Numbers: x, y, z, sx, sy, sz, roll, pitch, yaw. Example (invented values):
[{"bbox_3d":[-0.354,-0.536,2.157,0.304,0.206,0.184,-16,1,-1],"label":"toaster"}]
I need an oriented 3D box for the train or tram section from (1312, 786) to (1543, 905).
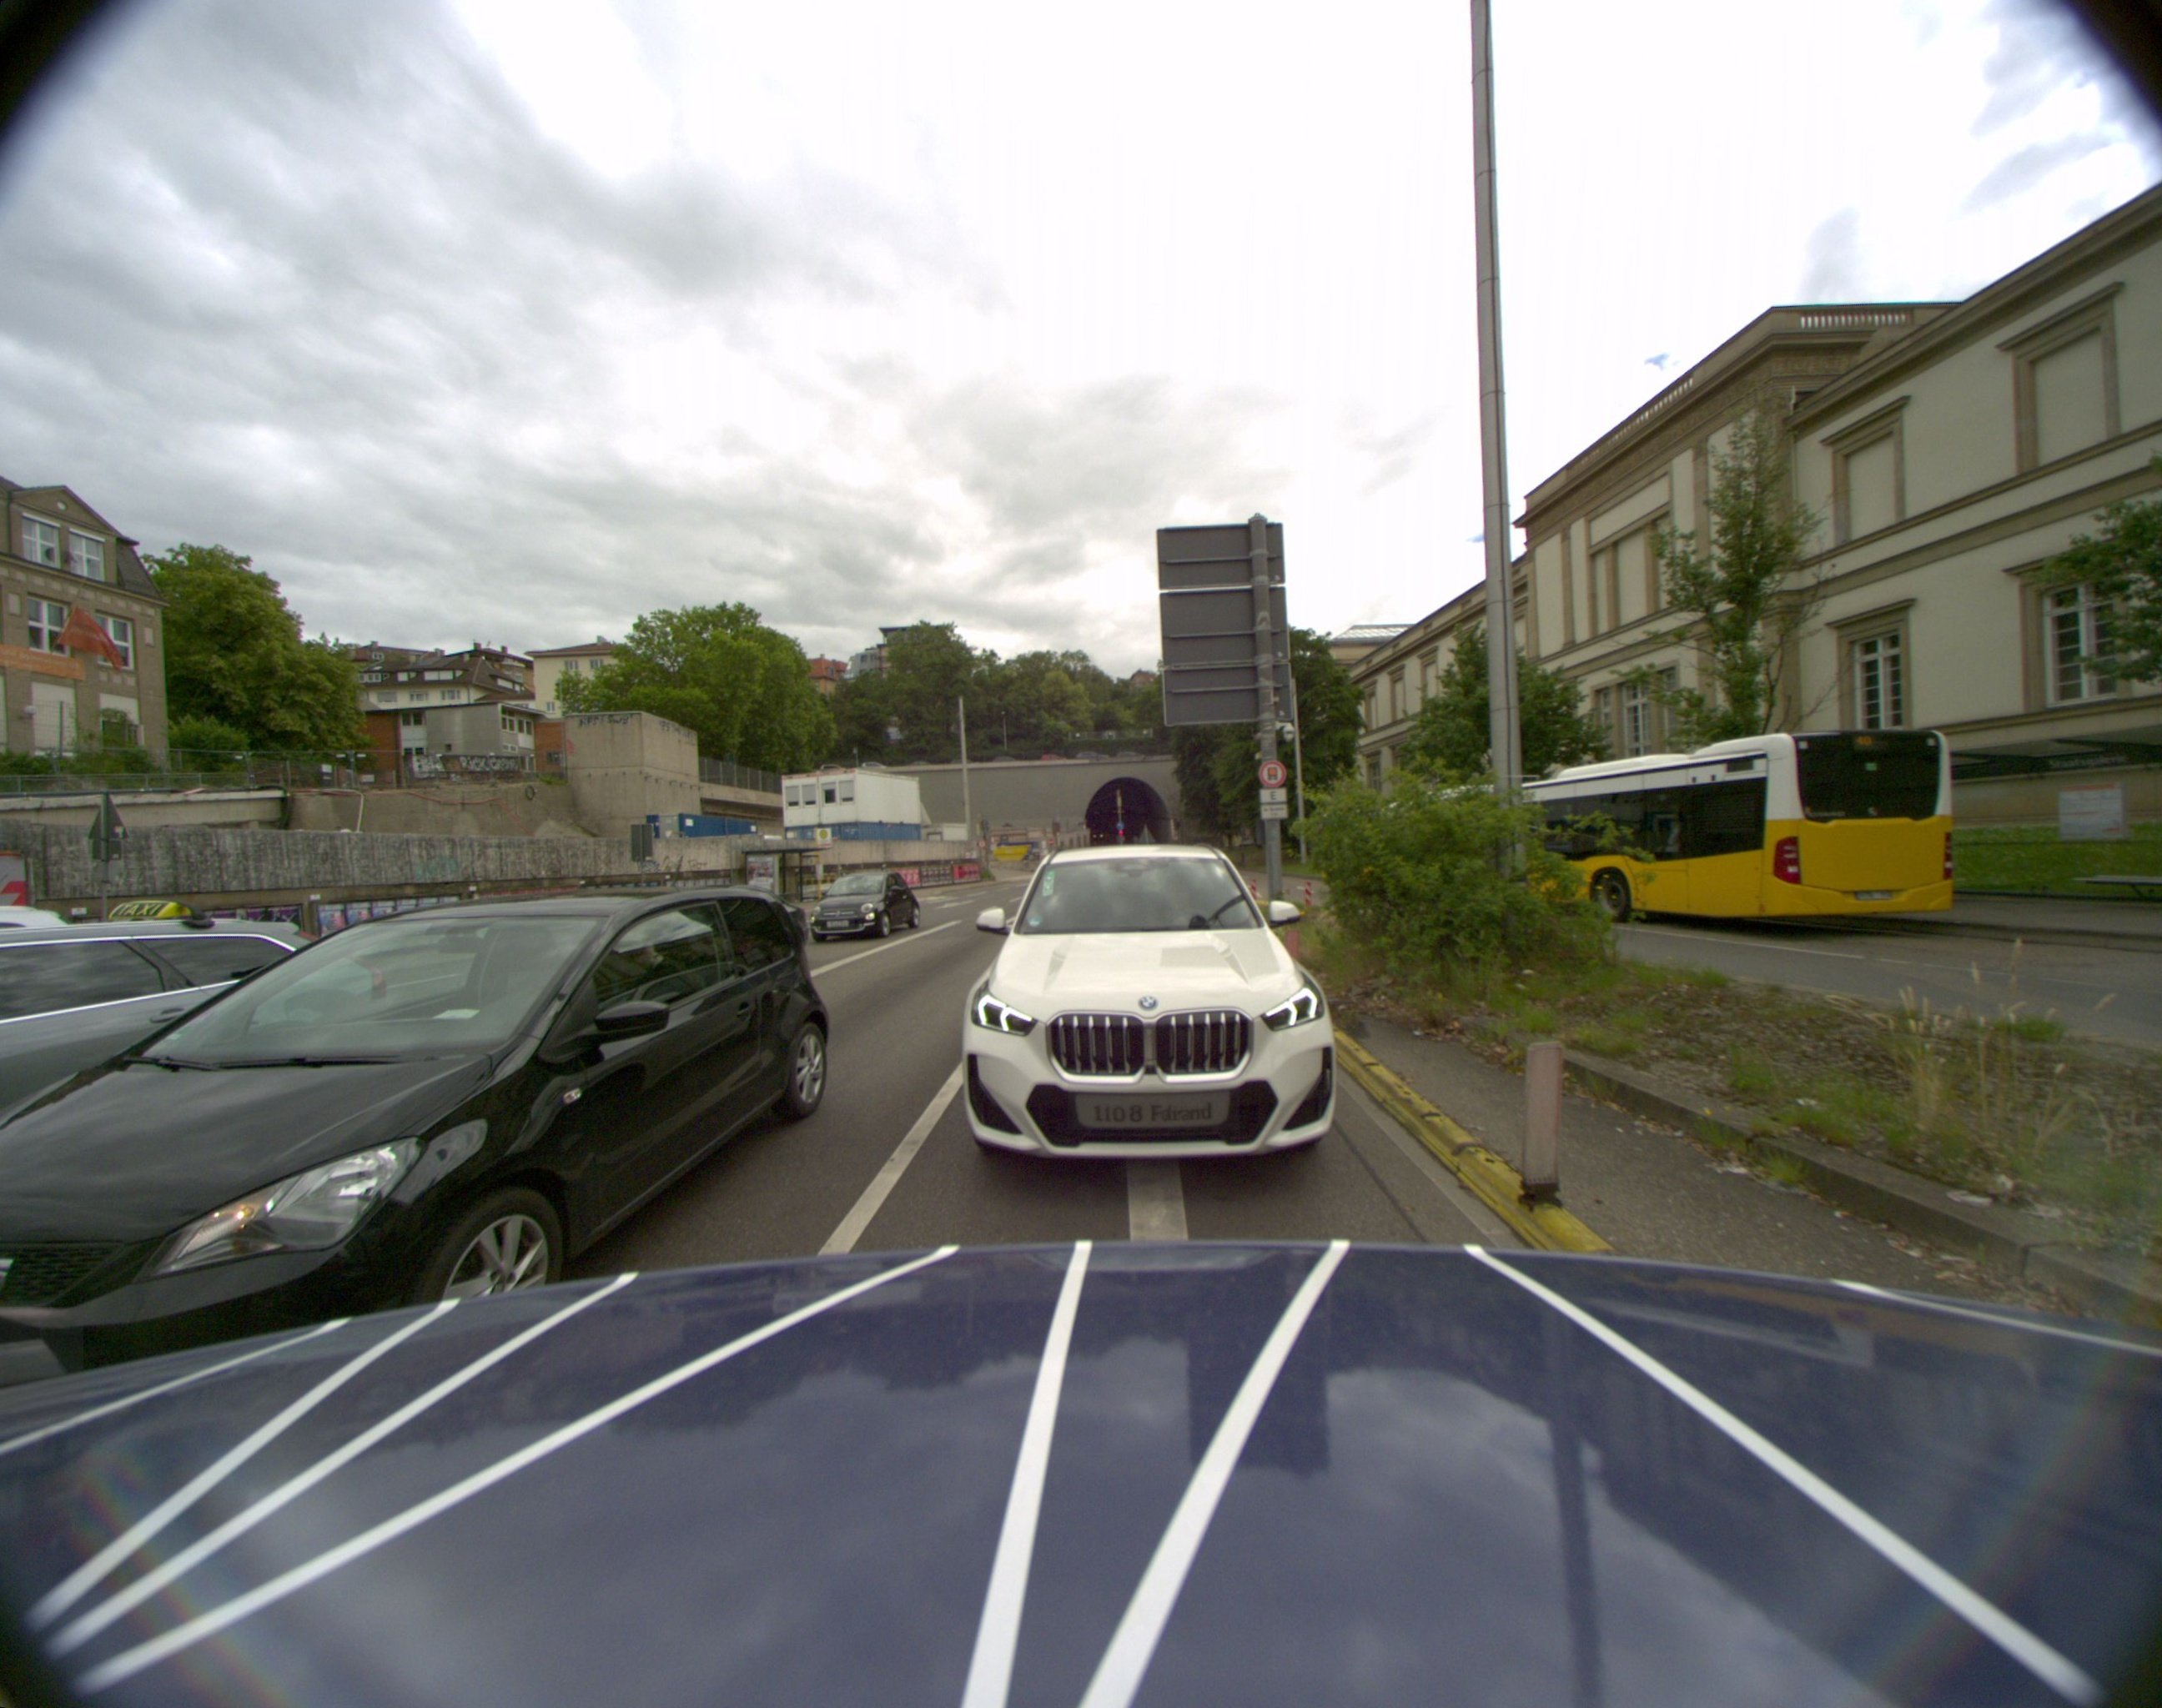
[{"bbox_3d":[10.493,-0.223,24.542,2.701,3.053,9.373,-1,0,-3],"label":"train or tram section"}]

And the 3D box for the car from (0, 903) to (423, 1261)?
[{"bbox_3d":[-5.822,1.143,3.459,1.826,1.457,4.217,-2,1,2],"label":"car"}]

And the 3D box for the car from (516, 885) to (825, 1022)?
[{"bbox_3d":[-5.397,1.225,10.765,1.826,1.356,4.219,-2,0,4],"label":"car"}]

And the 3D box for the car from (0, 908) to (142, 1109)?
[{"bbox_3d":[-9.148,1.257,4.583,1.826,1.457,4.073,-2,1,0],"label":"car"}]

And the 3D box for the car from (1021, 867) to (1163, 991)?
[{"bbox_3d":[0.224,0.991,11.602,1.756,1.427,3.911,-2,0,3],"label":"car"}]

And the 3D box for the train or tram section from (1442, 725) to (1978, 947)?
[{"bbox_3d":[10.980,-0.256,15.213,2.701,3.053,9.334,-1,0,-2],"label":"train or tram section"}]

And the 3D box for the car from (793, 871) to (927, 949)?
[{"bbox_3d":[-4.985,1.216,17.684,1.720,1.450,3.782,-3,0,4],"label":"car"}]

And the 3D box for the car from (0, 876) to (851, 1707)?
[{"bbox_3d":[-2.527,0.979,3.279,1.661,1.547,3.911,-2,1,3],"label":"car"}]

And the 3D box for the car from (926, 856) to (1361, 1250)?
[{"bbox_3d":[0.342,0.849,5.127,1.756,1.547,3.911,-2,1,3],"label":"car"}]
